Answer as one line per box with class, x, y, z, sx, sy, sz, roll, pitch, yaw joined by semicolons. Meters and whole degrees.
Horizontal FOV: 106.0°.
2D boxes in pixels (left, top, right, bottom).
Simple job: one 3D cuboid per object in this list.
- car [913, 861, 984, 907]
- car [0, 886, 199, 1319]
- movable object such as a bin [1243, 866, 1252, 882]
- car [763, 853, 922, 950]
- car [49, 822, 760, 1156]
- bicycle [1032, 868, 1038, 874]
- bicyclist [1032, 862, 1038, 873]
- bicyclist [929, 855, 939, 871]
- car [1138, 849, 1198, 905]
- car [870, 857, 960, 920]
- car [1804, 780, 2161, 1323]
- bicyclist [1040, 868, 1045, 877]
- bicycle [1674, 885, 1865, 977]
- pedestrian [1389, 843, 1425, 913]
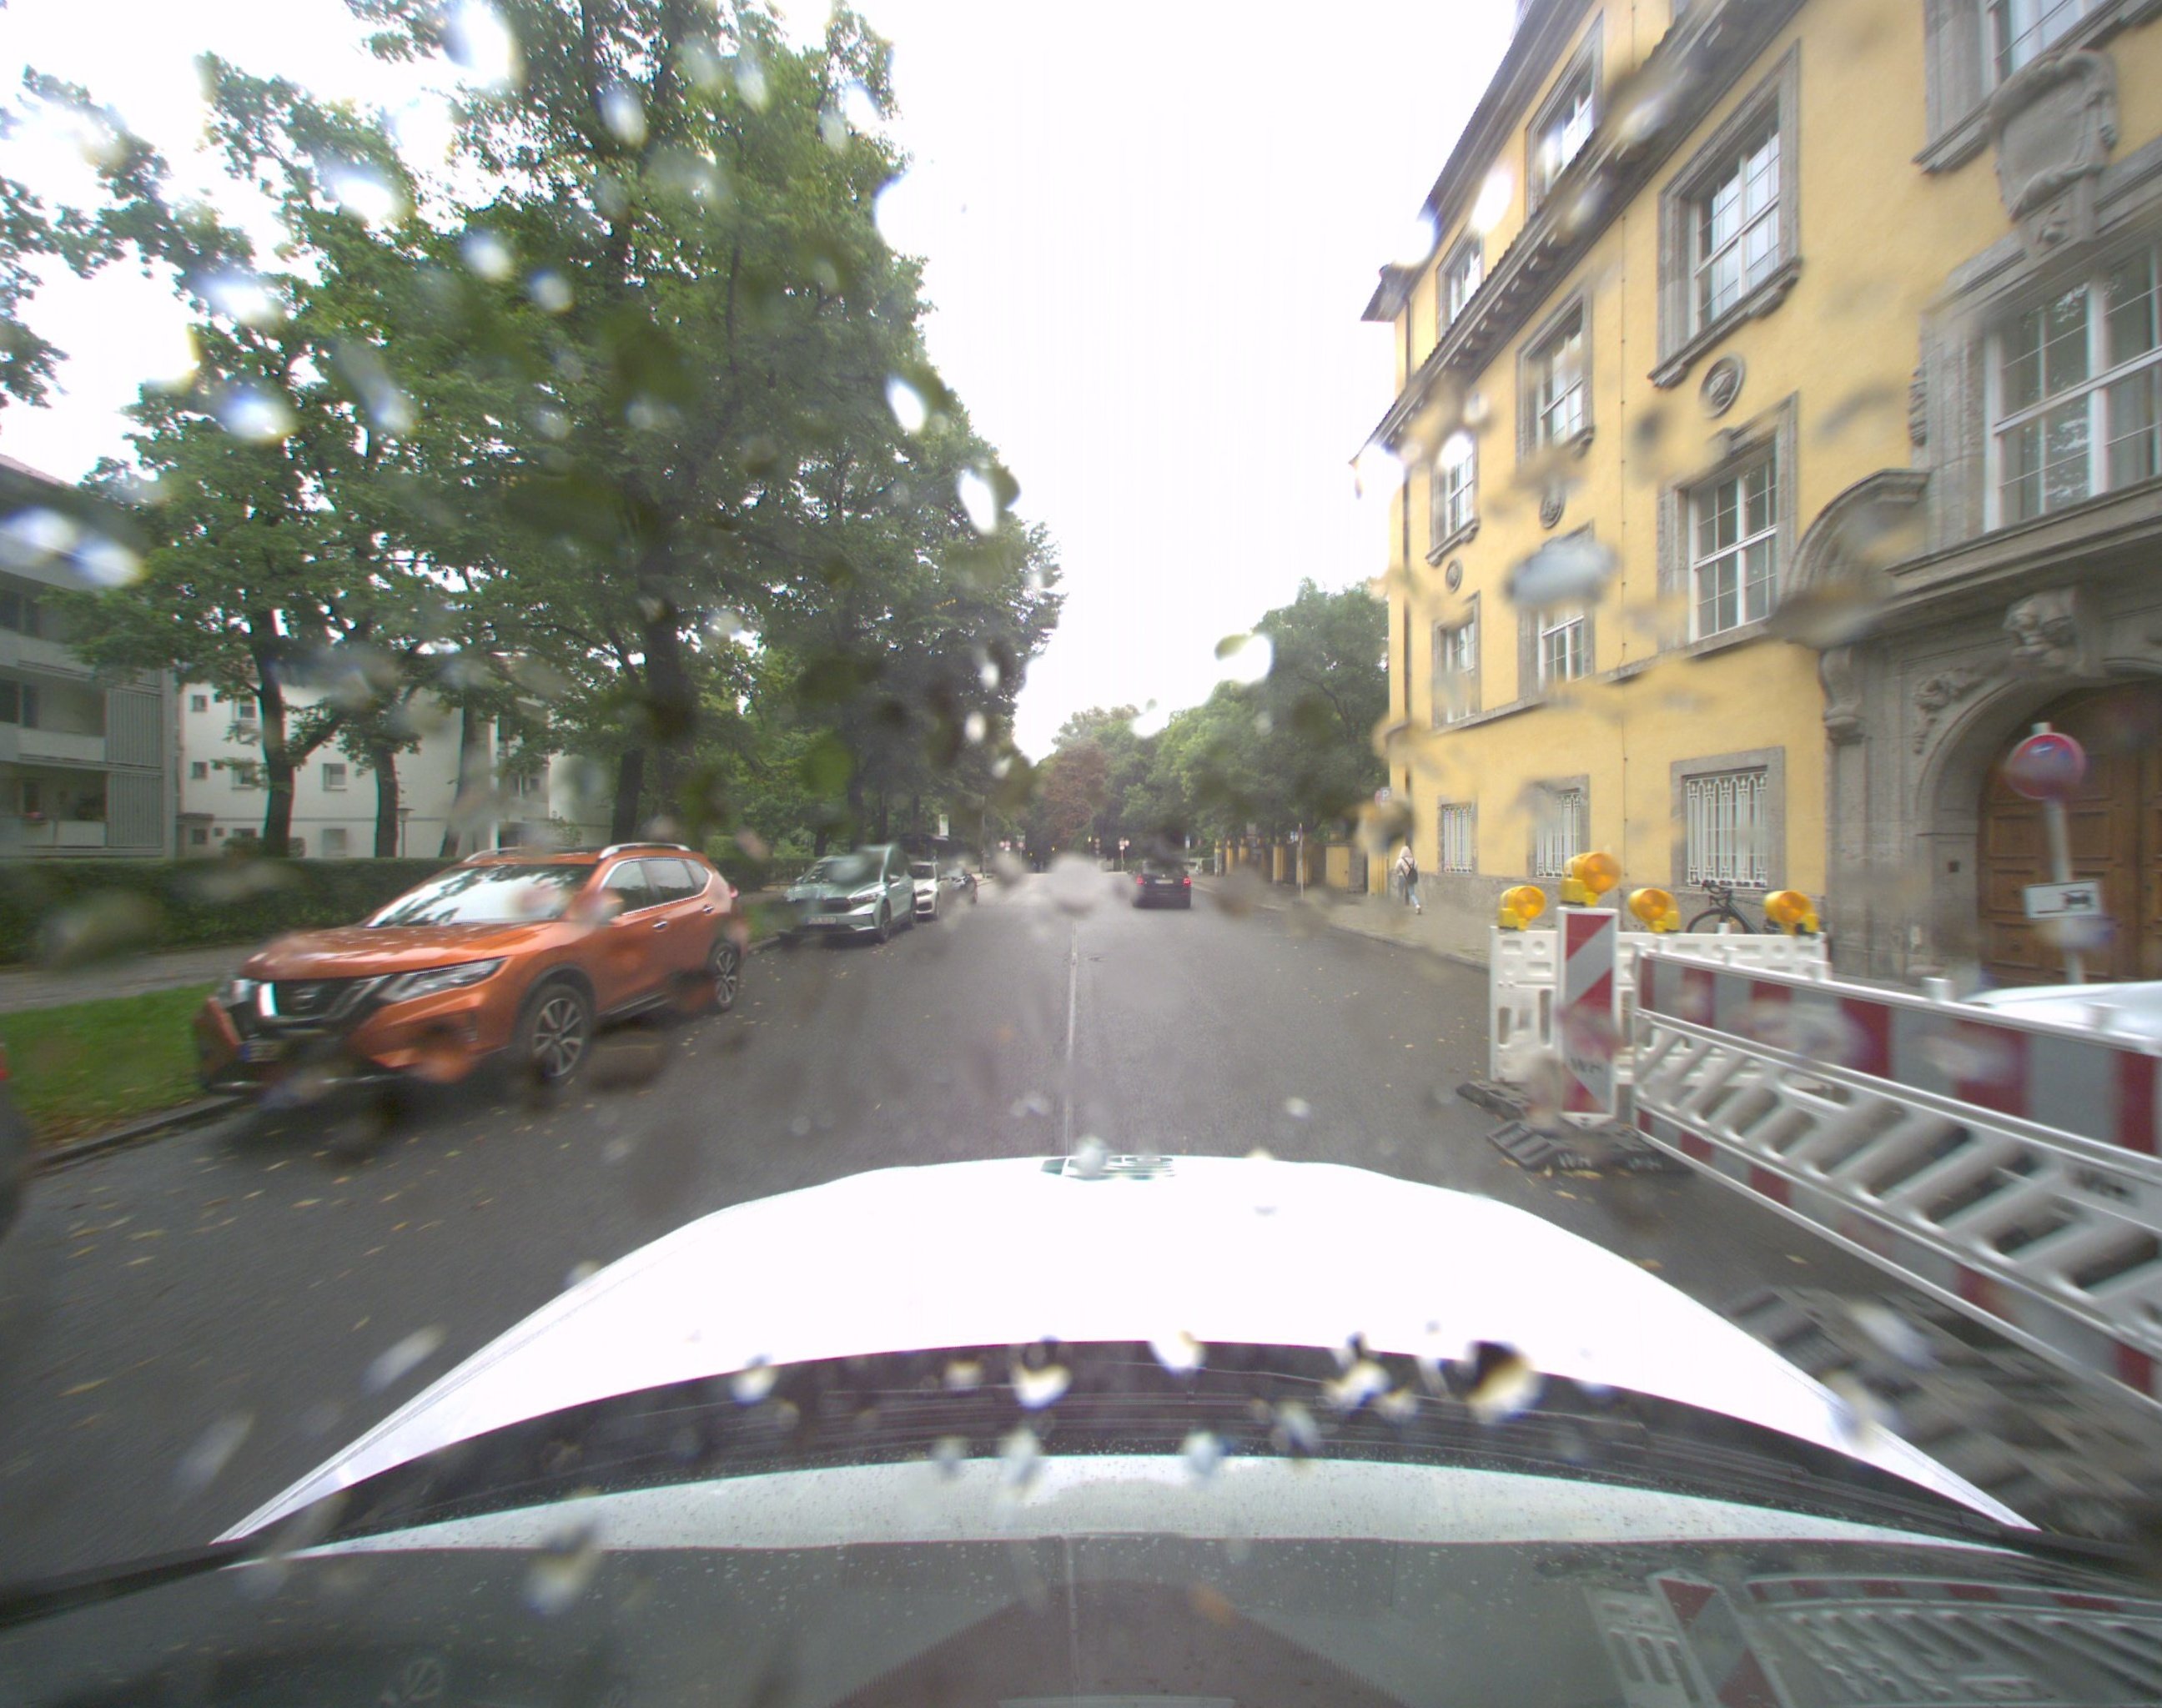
car;-4.254;0.930;26.701;1.572;1.343;4.045;0;0;1
car;-4.430;0.851;1.192;1.723;1.423;4.248;0;0;-2
movable object such as a bin;8.484;1.029;41.470;0.395;0.780;0.465;-1;0;1
car;-4.400;0.802;15.775;1.810;1.601;4.511;0;0;-1
car;-4.454;0.716;6.595;1.867;1.728;4.640;0;0;0
bicycle;-6.572;2.439;116.456;0.679;0.830;2.102;0;-1;-10
bicyclist;-6.570;1.962;116.447;0.681;1.504;0.898;-1;0;-10
bicyclist;-12.415;0.745;68.778;0.601;1.282;0.676;0;0;-33
car;2.660;0.673;25.549;1.571;1.584;4.046;-1;0;2
car;-4.242;0.832;21.422;1.573;1.497;4.197;0;0;-1
car;4.385;0.614;1.717;1.735;1.750;4.351;0;-1;-2
bicyclist;-4.857;2.320;102.969;0.680;1.187;0.480;-1;0;-7
bicycle;8.719;0.928;10.461;0.678;1.006;2.056;0;-1;-1
pedestrian;7.883;0.575;19.696;0.558;1.638;0.571;-2;0;-2
